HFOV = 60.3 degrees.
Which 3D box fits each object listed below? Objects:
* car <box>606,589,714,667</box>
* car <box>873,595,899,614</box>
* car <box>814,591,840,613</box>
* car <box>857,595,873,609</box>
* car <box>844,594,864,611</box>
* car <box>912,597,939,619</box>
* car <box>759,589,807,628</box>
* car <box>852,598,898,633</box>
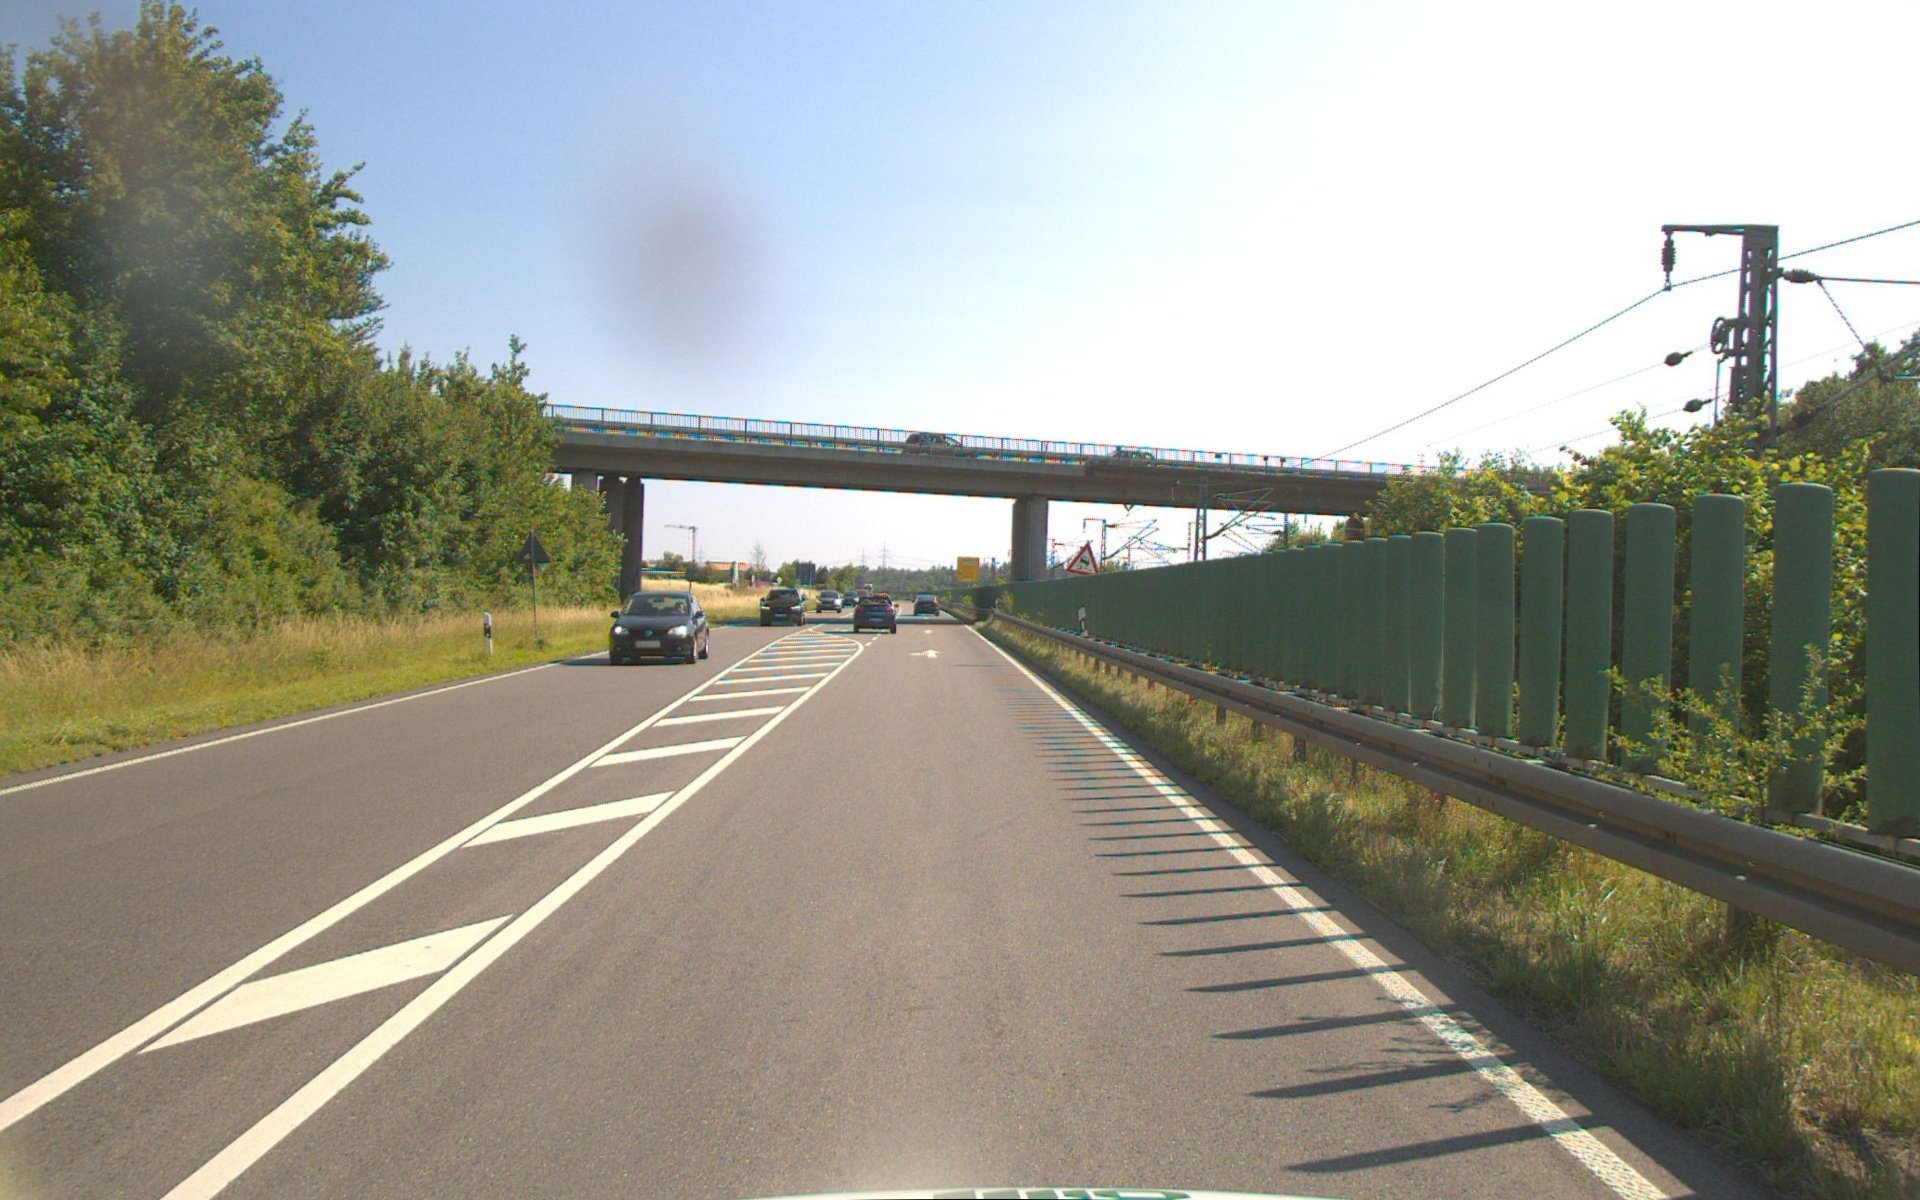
[{"bbox_3d":[-6.229,0.551,34.726,1.715,1.507,3.997,1,0,-3],"label":"car"},{"bbox_3d":[-5.656,0.327,126.669,1.856,1.443,3.999,1,0,-1],"label":"car"},{"bbox_3d":[-10.052,0.140,125.487,1.808,1.659,3.998,1,0,-3],"label":"car"},{"bbox_3d":[-12.355,0.268,215.190,1.856,1.659,3.999,1,0,-1],"label":"car"},{"bbox_3d":[-10.705,0.274,167.050,1.856,1.659,3.999,1,0,-1],"label":"car"},{"bbox_3d":[-2.407,0.552,116.460,1.856,1.443,3.999,1,0,-1],"label":"car"},{"bbox_3d":[-7.990,0.353,74.984,1.884,1.620,4.426,2,0,-4],"label":"car"},{"bbox_3d":[-3.218,0.591,63.172,1.630,1.283,3.999,1,0,-1],"label":"car"}]
